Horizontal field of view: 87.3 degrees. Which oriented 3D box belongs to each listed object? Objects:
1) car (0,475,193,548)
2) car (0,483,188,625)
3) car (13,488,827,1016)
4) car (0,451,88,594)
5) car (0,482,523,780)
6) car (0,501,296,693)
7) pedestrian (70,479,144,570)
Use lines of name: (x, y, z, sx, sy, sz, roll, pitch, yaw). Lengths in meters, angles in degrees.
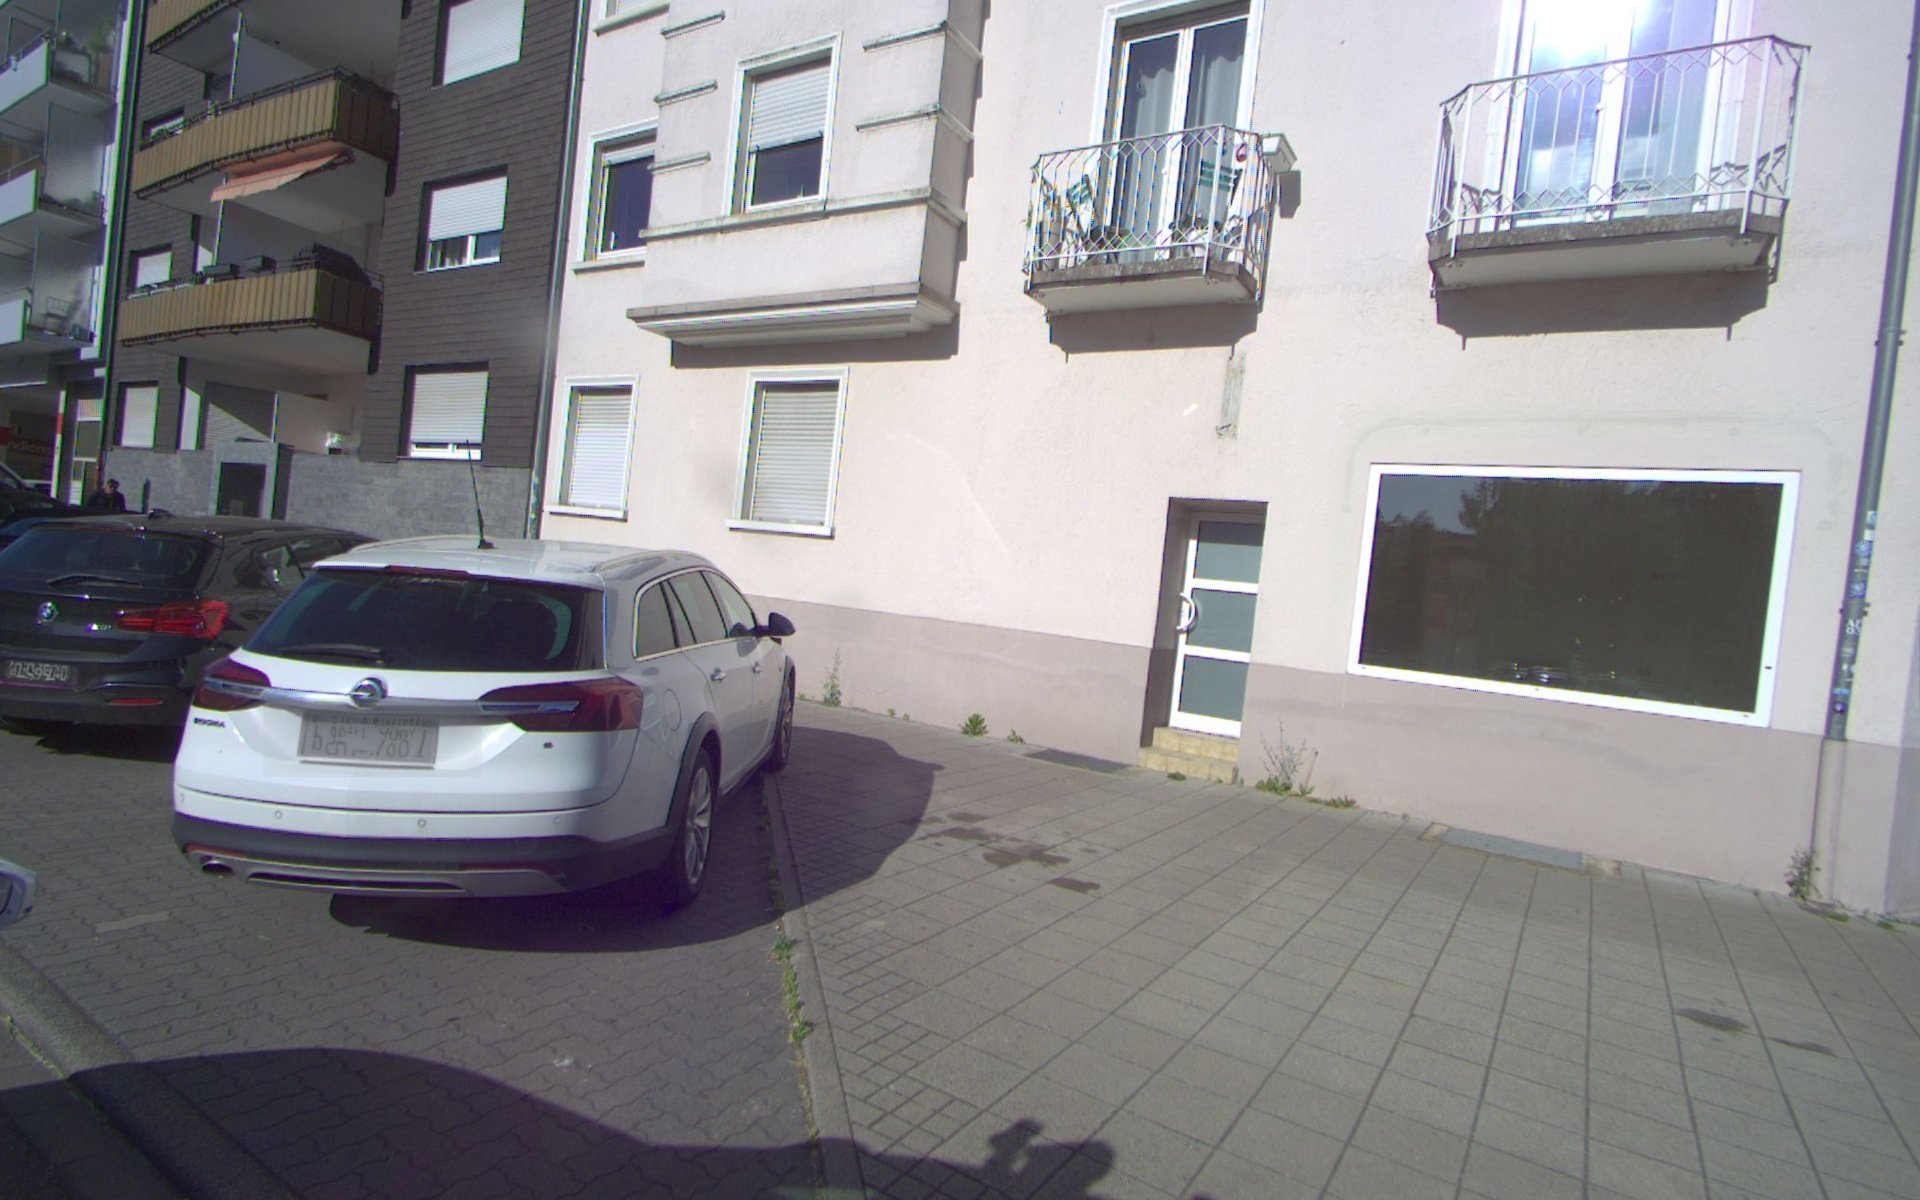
car: (-24.952, -2.494, 28.744, 1.947, 1.532, 4.393, 6, 1, 32)
car: (-10.963, -0.560, 11.176, 1.586, 1.509, 3.993, 4, 2, 1)
car: (-2.040, 0.403, 5.625, 1.937, 1.483, 4.866, 7, 2, -2)
car: (-13.888, -1.086, 12.801, 2.013, 1.924, 4.520, 4, 2, -8)
car: (-5.072, 0.151, 7.473, 1.789, 1.516, 4.171, 5, 0, -1)
car: (-7.860, -0.092, 9.199, 1.513, 1.405, 3.393, 7, 0, -7)
pedestrian: (-16.276, -1.430, 19.195, 0.875, 1.614, 0.832, 7, 2, 38)
